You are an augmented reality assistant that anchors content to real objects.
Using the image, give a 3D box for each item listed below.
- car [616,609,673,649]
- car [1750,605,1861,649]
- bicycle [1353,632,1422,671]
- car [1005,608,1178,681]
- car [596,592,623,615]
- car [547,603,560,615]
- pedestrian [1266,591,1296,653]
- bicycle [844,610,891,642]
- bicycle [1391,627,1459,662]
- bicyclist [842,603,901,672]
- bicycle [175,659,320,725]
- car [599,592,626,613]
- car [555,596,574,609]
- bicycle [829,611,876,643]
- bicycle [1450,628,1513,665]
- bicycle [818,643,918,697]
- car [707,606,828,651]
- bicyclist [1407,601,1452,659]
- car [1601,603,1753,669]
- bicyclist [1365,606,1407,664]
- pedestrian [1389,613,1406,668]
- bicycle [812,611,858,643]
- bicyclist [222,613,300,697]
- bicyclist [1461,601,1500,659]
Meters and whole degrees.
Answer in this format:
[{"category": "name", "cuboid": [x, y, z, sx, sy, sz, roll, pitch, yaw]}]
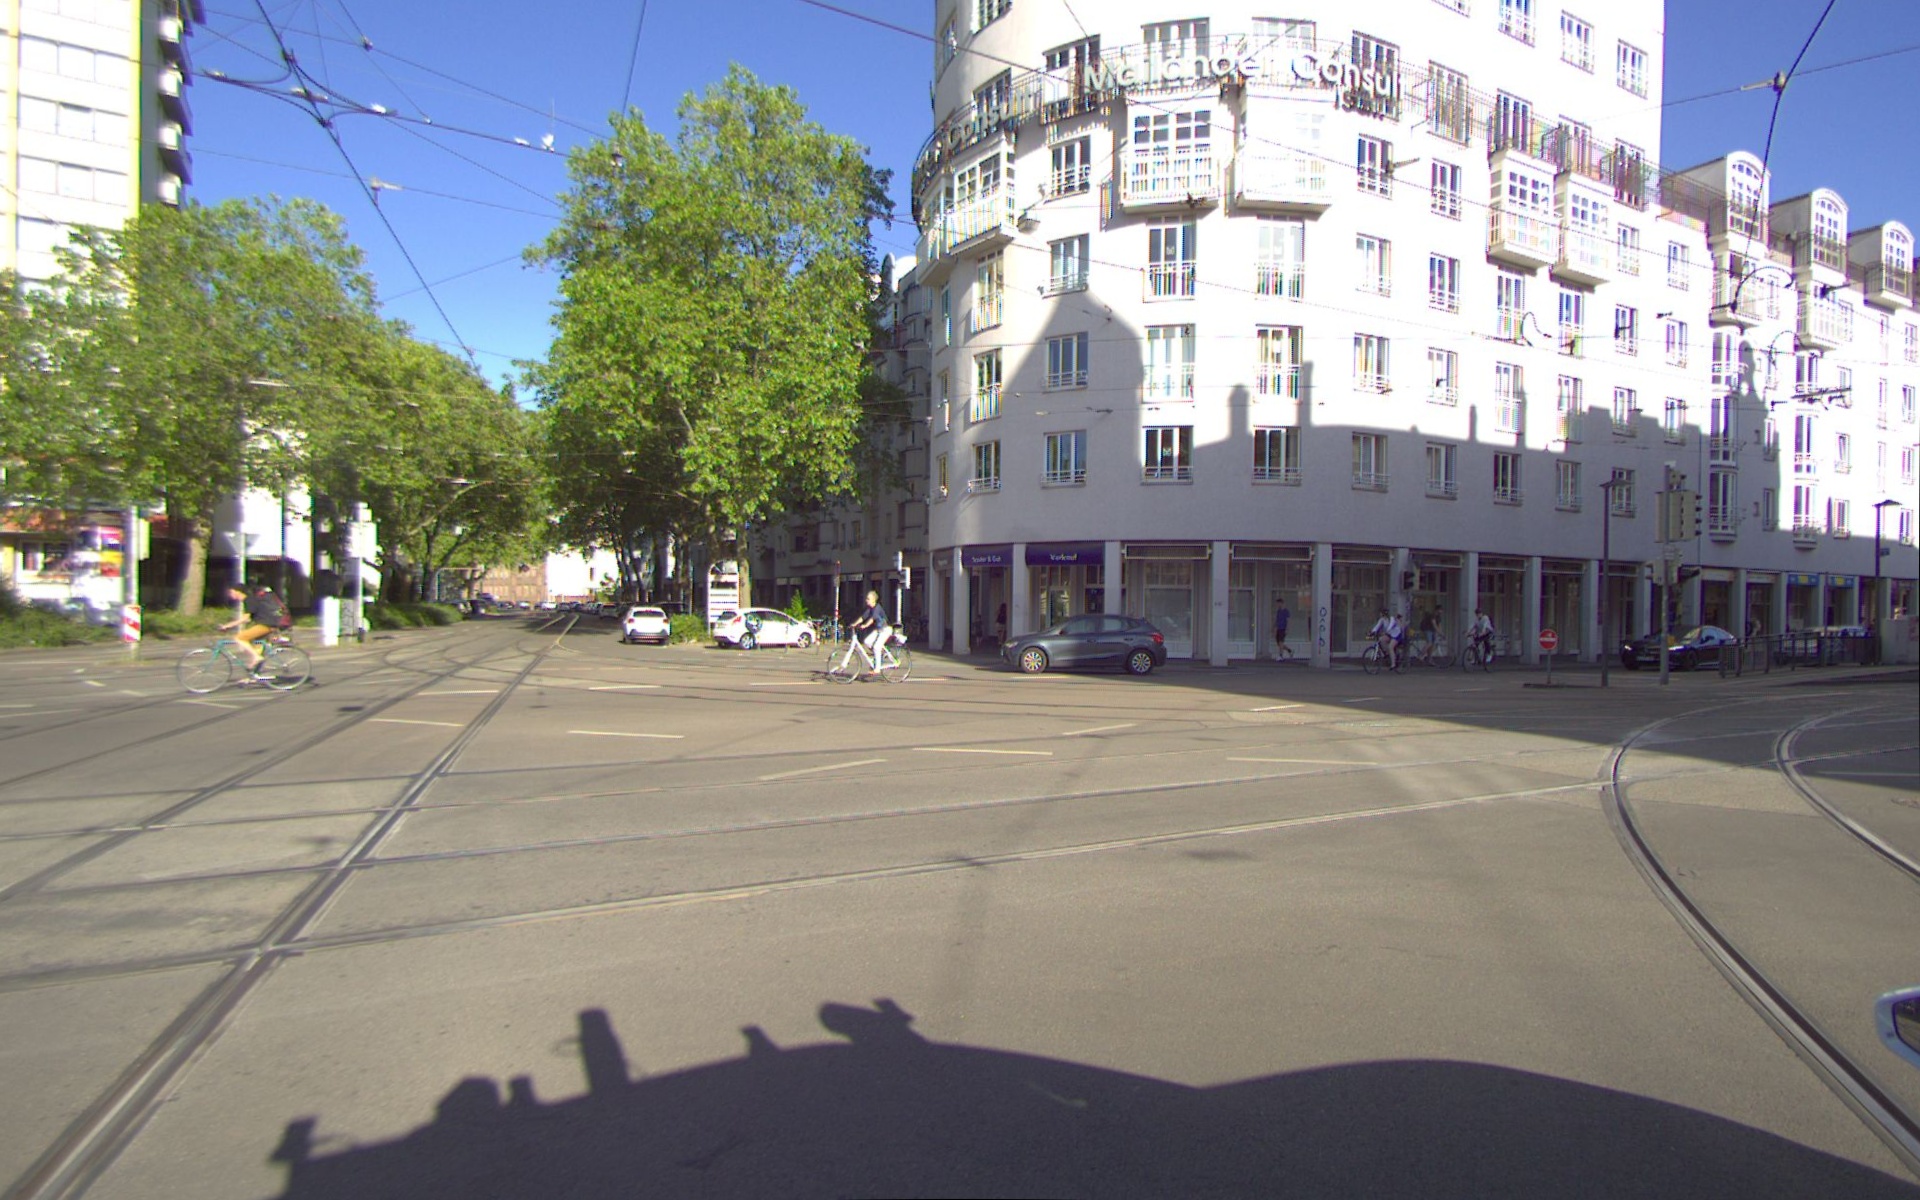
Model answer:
[{"category": "car", "cuboid": [-12.927, 1.157, 40.974, 1.778, 1.422, 3.984, -1, 1, -24]}, {"category": "car", "cuboid": [31.152, 0.979, 36.984, 4.351, 1.535, 1.721, 1, 0, -29]}, {"category": "bicycle", "cuboid": [11.335, 1.351, 26.612, 1.989, 0.985, 0.591, 2, -1, -31]}, {"category": "car", "cuboid": [3.099, 1.048, 24.366, 3.921, 1.617, 2.000, 1, -1, 0]}, {"category": "car", "cuboid": [-33.283, 0.330, 95.264, 1.974, 2.040, 3.974, 2, -1, -26]}, {"category": "car", "cuboid": [-70.443, 1.545, 174.112, 1.819, 2.040, 3.972, 0, 0, -27]}, {"category": "pedestrian", "cuboid": [9.705, 0.663, 30.412, 0.733, 1.857, 0.460, -1, 1, -15]}, {"category": "bicycle", "cuboid": [-4.021, 1.097, 43.284, 0.593, 1.251, 2.864, -1, 1, -37]}, {"category": "bicycle", "cuboid": [14.091, 1.344, 30.457, 1.727, 0.993, 0.678, 1, 0, 0]}, {"category": "bicyclist", "cuboid": [-1.727, 0.725, 19.545, 0.980, 1.302, 0.586, 2, -1, -28]}, {"category": "bicycle", "cuboid": [-11.301, 1.442, 15.996, 1.795, 0.985, 0.591, 2, -1, -28]}, {"category": "car", "cuboid": [-34.922, 0.241, 100.936, 1.975, 2.040, 3.971, 2, -1, -28]}, {"category": "car", "cuboid": [-55.069, 0.412, 139.860, 1.975, 1.739, 3.972, 2, -1, -27]}, {"category": "bicycle", "cuboid": [-4.598, 1.136, 42.784, 0.593, 1.251, 2.864, -1, 1, -37]}, {"category": "bicycle", "cuboid": [14.700, 1.310, 28.307, 2.024, 0.985, 0.591, 2, -1, -31]}, {"category": "bicycle", "cuboid": [-1.781, 1.345, 19.559, 1.832, 0.985, 0.591, 2, -1, -29]}, {"category": "car", "cuboid": [-7.041, 1.009, 36.944, 4.071, 1.422, 1.781, -2, 2, -42]}, {"category": "bicyclist", "cuboid": [14.210, 0.893, 30.441, 1.009, 1.718, 0.724, 1, 0, 0]}, {"category": "car", "cuboid": [22.834, 1.096, 31.966, 4.553, 1.936, 2.217, 1, 0, -29]}, {"category": "bicyclist", "cuboid": [11.274, 0.921, 26.605, 0.917, 1.507, 0.585, 2, -1, -30]}, {"category": "pedestrian", "cuboid": [12.621, 1.160, 28.962, 0.434, 1.555, 0.683, 0, 1, 25]}, {"category": "bicycle", "cuboid": [-5.274, 1.115, 42.240, 0.593, 1.251, 2.864, -1, 1, -37]}, {"category": "bicyclist", "cuboid": [-11.151, 0.868, 16.042, 0.915, 1.302, 0.586, 2, -1, -28]}, {"category": "bicyclist", "cuboid": [14.663, 0.840, 28.287, 0.885, 1.606, 0.585, 2, -1, -30]}]
